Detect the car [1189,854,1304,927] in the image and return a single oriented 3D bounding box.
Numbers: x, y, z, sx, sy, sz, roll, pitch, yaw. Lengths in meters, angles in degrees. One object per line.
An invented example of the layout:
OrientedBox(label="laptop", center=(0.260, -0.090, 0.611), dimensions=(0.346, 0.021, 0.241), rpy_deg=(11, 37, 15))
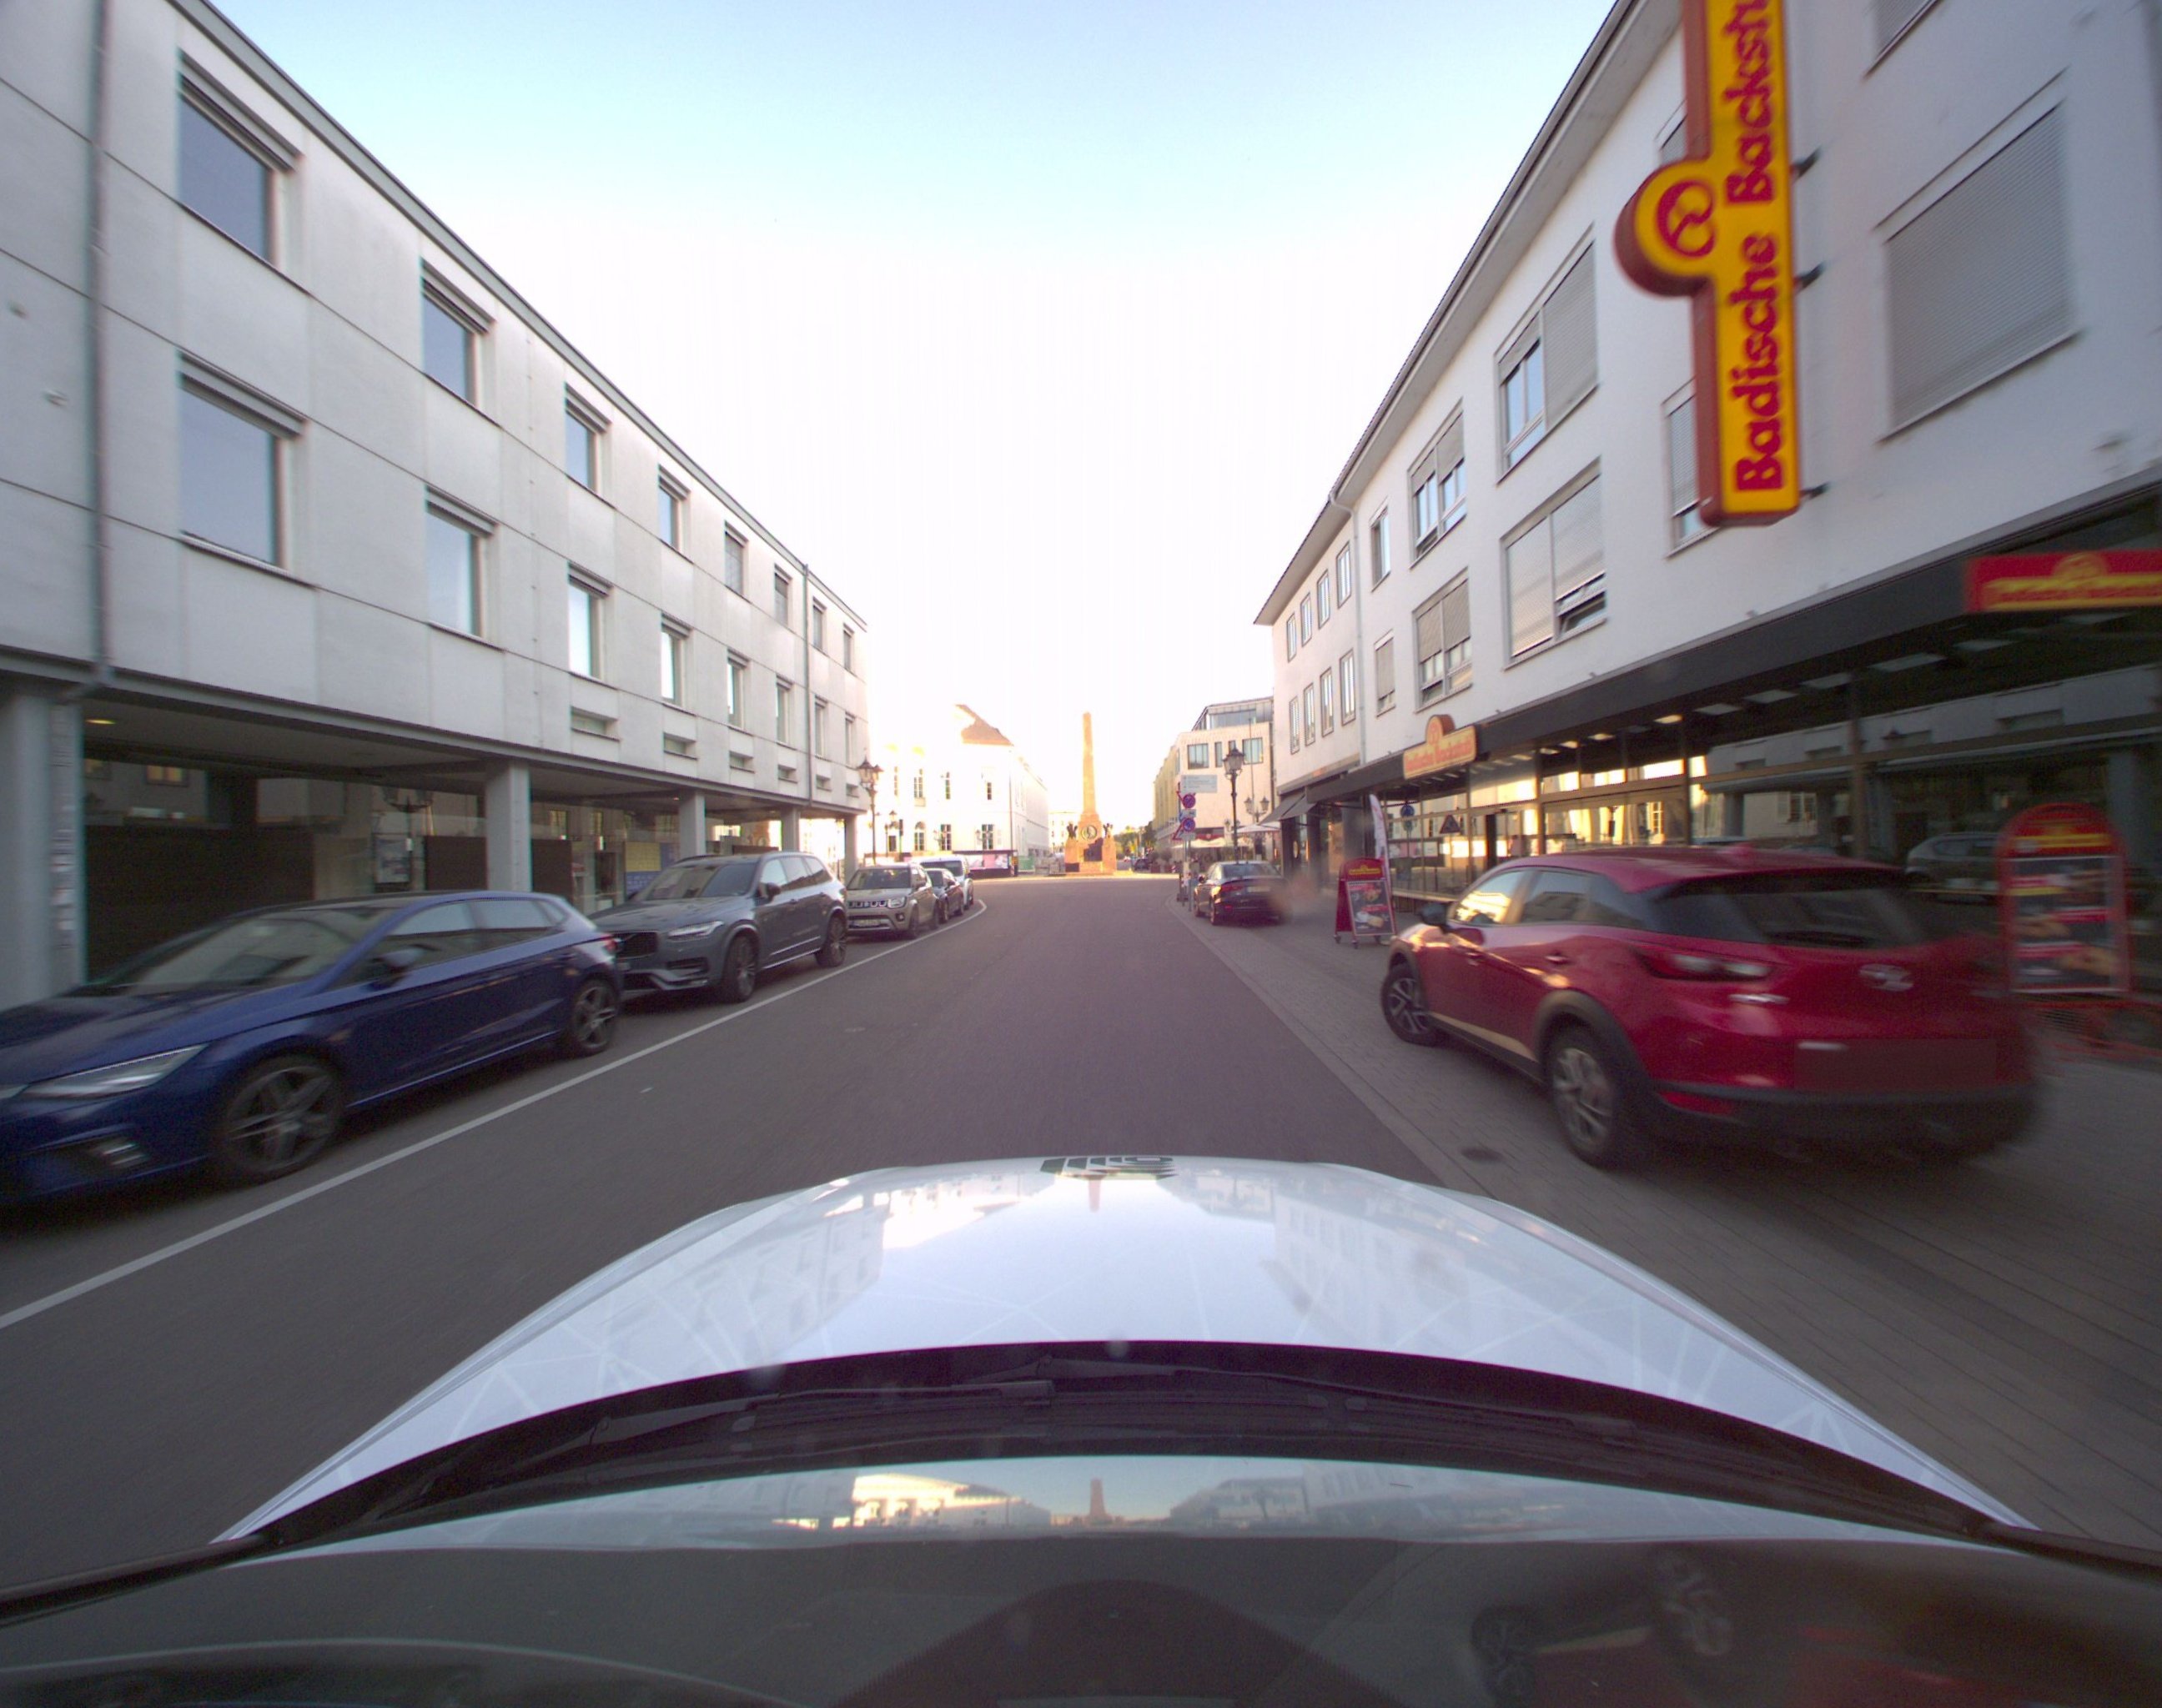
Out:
OrientedBox(label="car", center=(3.719, 0.770, 19.004), dimensions=(1.796, 1.464, 4.116), rpy_deg=(-2, 0, 0))

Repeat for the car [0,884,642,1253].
OrientedBox(label="car", center=(-4.927, 0.999, 5.439), dimensions=(1.667, 1.400, 4.002), rpy_deg=(-2, 0, 2))

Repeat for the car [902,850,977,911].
OrientedBox(label="car", center=(-4.639, 0.825, 27.299), dimensions=(1.990, 1.816, 4.776), rpy_deg=(-1, 0, -4))

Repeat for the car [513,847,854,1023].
OrientedBox(label="car", center=(-4.739, 0.843, 10.663), dimensions=(1.985, 1.728, 4.519), rpy_deg=(-3, 0, 3))

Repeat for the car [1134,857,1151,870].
OrientedBox(label="car", center=(7.612, 1.177, 100.475), dimensions=(1.985, 1.464, 4.004), rpy_deg=(-2, 0, 4))

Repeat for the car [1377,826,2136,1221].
OrientedBox(label="car", center=(3.315, 0.678, 5.049), dimensions=(1.752, 1.523, 3.680), rpy_deg=(-2, 0, 3))

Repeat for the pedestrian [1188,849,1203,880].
OrientedBox(label="pedestrian", center=(6.340, 0.575, 44.996), dimensions=(0.687, 1.647, 0.696), rpy_deg=(-2, 0, 2))

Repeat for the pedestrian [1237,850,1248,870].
OrientedBox(label="pedestrian", center=(14.119, 0.541, 71.055), dimensions=(0.899, 1.728, 0.852), rpy_deg=(-2, 0, 10))

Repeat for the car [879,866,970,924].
OrientedBox(label="car", center=(-4.180, 1.064, 22.371), dimensions=(1.672, 1.353, 4.105), rpy_deg=(-1, 0, 0))

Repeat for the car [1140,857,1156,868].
OrientedBox(label="car", center=(8.932, 1.145, 108.911), dimensions=(1.985, 1.464, 4.004), rpy_deg=(-2, 0, 4))

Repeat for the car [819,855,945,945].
OrientedBox(label="car", center=(-4.178, 0.891, 17.716), dimensions=(1.990, 1.662, 3.993), rpy_deg=(-2, 0, -5))
